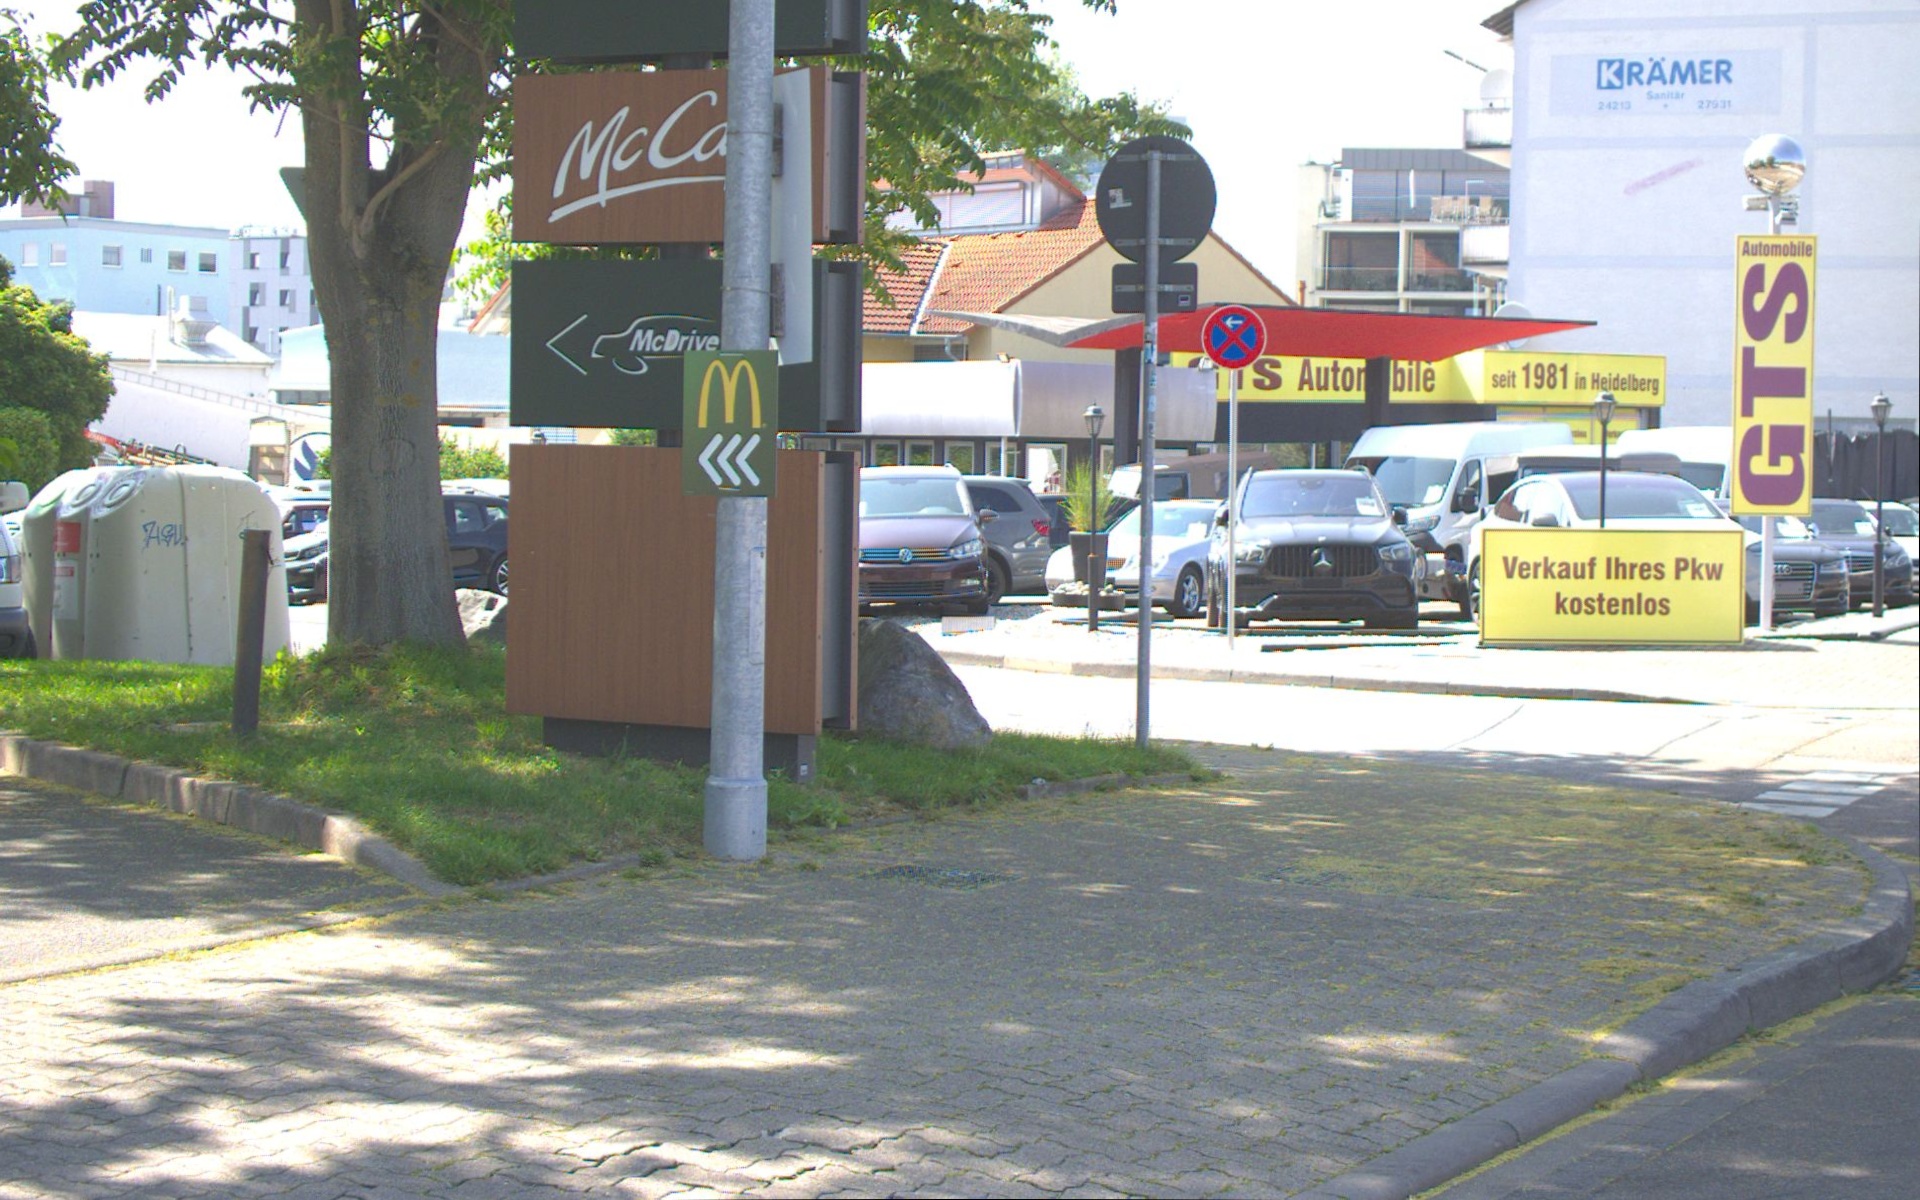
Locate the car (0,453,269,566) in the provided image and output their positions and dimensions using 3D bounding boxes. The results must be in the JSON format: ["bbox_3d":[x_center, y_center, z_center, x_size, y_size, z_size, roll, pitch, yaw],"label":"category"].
[{"bbox_3d":[-14.120,-1.505,57.413,4.641,1.719,1.999,1,2,-43],"label":"car"}]

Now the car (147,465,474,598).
[{"bbox_3d":[-9.076,-0.953,48.127,3.987,1.700,2.000,1,2,-36],"label":"car"}]

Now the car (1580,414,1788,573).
[{"bbox_3d":[11.211,-1.644,52.984,2.138,2.276,4.705,3,2,24],"label":"car"}]

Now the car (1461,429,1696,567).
[{"bbox_3d":[8.611,-1.403,47.540,1.880,1.732,4.716,4,3,26],"label":"car"}]

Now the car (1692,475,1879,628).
[{"bbox_3d":[9.545,-0.608,40.002,1.857,1.623,3.999,2,2,11],"label":"car"}]

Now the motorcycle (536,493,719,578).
[{"bbox_3d":[-5.079,-0.979,52.653,2.711,1.222,0.999,1,2,-43],"label":"motorcycle"}]

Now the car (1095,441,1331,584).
[{"bbox_3d":[3.883,-1.313,52.030,1.996,2.006,4.490,3,2,25],"label":"car"}]

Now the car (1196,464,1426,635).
[{"bbox_3d":[3.570,-0.562,35.683,2.047,1.589,4.423,2,2,2],"label":"car"}]

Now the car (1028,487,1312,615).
[{"bbox_3d":[2.707,-0.620,43.502,1.791,1.482,3.992,3,2,33],"label":"car"}]

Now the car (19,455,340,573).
[{"bbox_3d":[-12.571,-1.382,55.549,4.641,1.719,1.999,1,2,-43],"label":"car"}]

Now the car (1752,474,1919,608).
[{"bbox_3d":[11.511,-0.813,45.313,1.857,1.623,3.999,2,2,11],"label":"car"}]

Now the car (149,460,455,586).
[{"bbox_3d":[-9.807,-1.135,51.389,3.989,1.719,1.999,1,2,-43],"label":"car"}]

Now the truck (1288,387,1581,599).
[{"bbox_3d":[7.142,-1.578,51.108,2.272,2.893,5.934,4,3,28],"label":"truck"}]

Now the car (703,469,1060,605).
[{"bbox_3d":[-1.061,-0.837,45.110,4.319,1.579,2.001,2,2,-12],"label":"car"}]

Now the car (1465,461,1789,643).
[{"bbox_3d":[6.878,-0.545,35.896,1.993,1.719,4.001,2,2,-9],"label":"car"}]

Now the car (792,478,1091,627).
[{"bbox_3d":[-0.140,-0.542,38.354,1.790,1.504,3.995,3,2,24],"label":"car"}]

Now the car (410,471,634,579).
[{"bbox_3d":[-7.166,-1.242,55.970,1.993,1.579,4.000,1,2,-34],"label":"car"}]

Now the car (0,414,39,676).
[{"bbox_3d":[-7.556,-0.499,22.788,1.951,1.577,5.033,1,3,-25],"label":"car"}]

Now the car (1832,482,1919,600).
[{"bbox_3d":[13.893,-0.883,50.376,1.857,1.623,3.999,2,2,11],"label":"car"}]
